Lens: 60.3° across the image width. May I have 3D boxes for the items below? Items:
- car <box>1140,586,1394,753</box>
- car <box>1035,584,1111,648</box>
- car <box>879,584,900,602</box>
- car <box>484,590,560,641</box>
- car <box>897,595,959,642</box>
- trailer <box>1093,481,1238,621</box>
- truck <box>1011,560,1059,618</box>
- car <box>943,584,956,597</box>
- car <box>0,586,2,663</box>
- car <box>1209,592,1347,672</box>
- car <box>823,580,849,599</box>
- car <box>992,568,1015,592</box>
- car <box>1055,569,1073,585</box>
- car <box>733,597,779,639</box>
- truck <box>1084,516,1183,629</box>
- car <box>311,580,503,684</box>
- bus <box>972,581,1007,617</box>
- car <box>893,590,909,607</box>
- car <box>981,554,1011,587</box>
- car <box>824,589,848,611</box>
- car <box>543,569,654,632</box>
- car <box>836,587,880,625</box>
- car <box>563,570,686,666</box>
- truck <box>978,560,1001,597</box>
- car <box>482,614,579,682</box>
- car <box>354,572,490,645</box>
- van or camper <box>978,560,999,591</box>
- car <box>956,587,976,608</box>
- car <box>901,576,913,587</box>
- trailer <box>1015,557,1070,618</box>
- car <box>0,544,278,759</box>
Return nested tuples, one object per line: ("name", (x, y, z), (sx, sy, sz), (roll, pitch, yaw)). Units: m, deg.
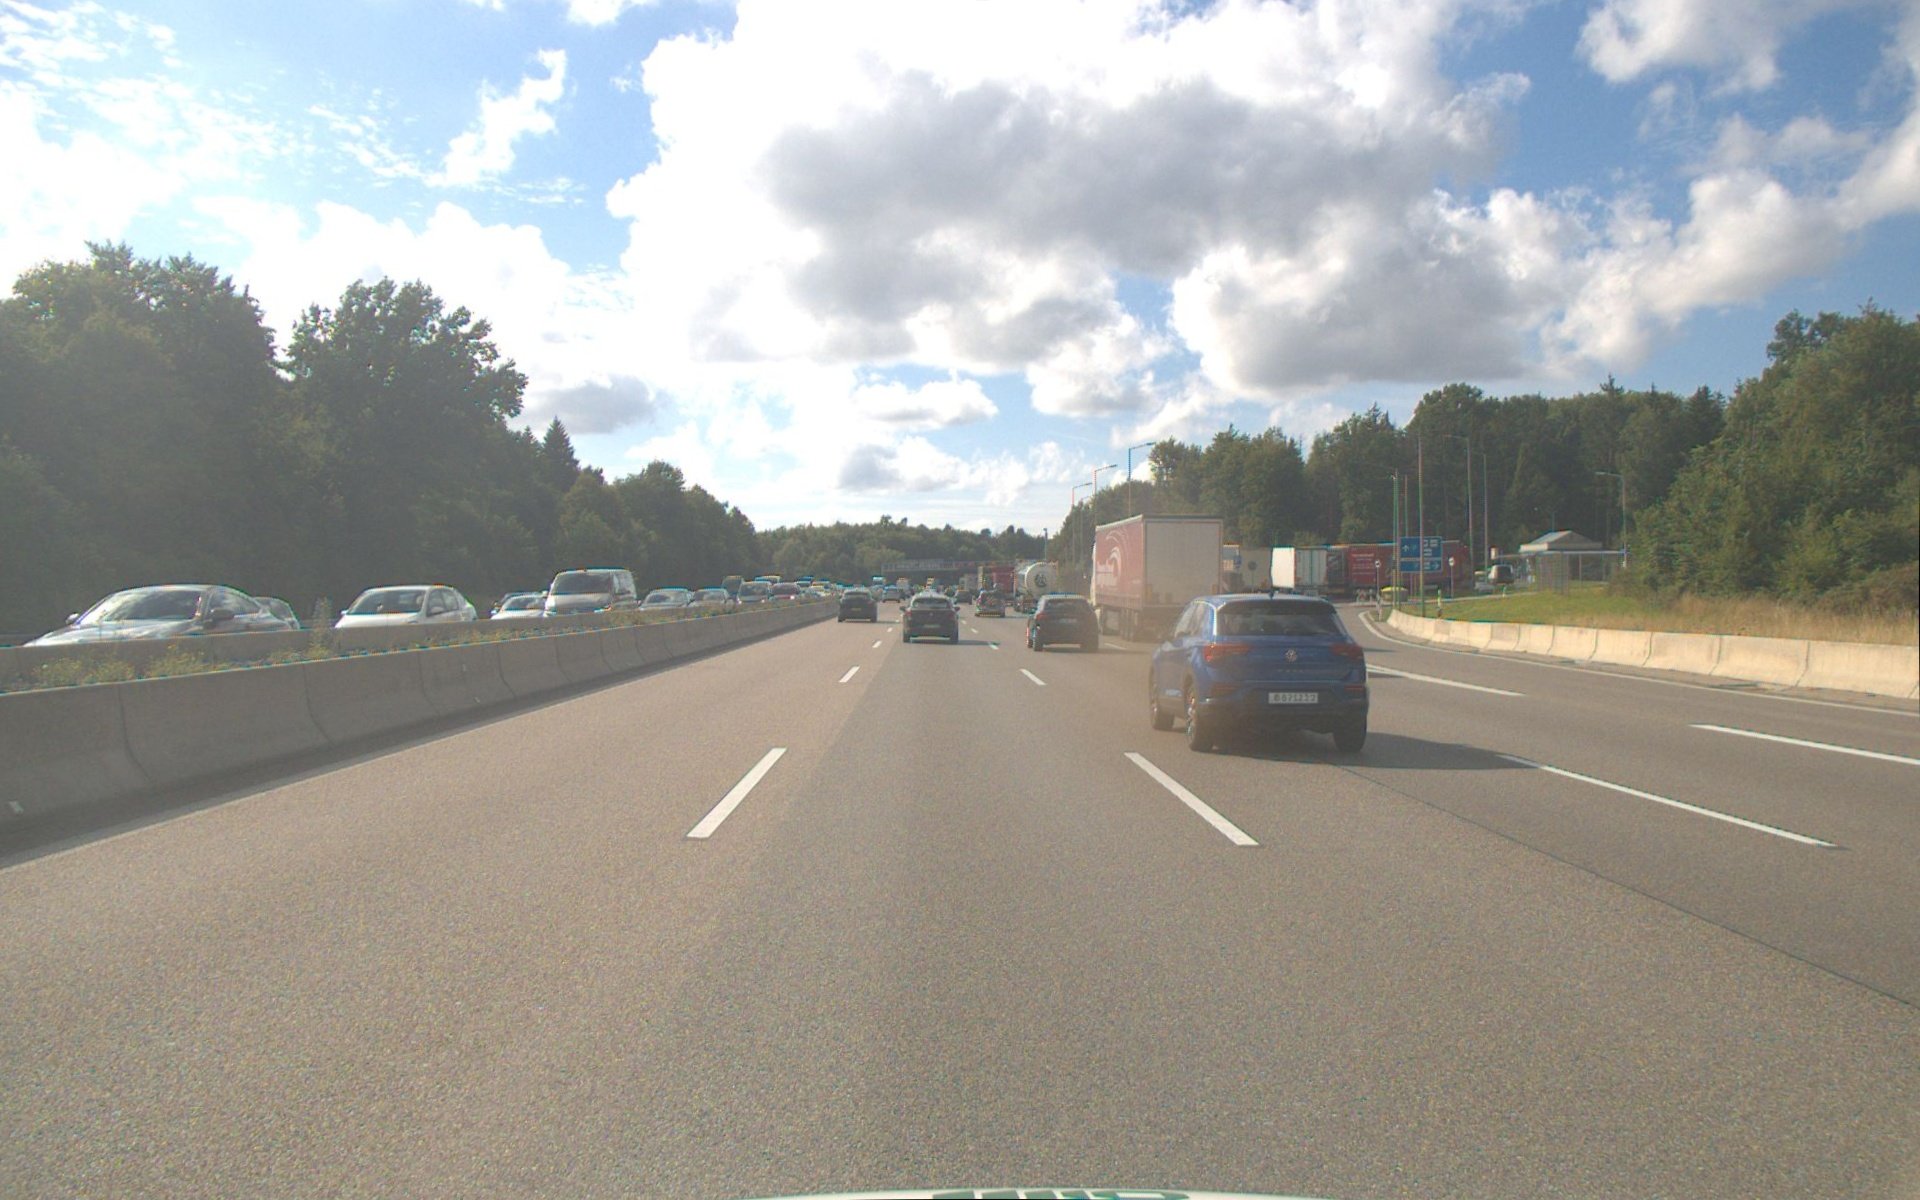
("car", (3.148, 0.672, 17.922), (1.885, 1.568, 4.645), (0, 0, 0))
("car", (3.076, 0.444, 45.739), (1.763, 1.673, 3.999), (1, -1, -1))
("car", (-7.520, -0.738, 177.673), (2.111, 1.807, 3.999), (1, -1, -1))
("car", (-18.164, 0.672, 68.804), (1.953, 2.049, 4.458), (1, -1, 0))
("car", (-1.040, 0.583, 51.757), (1.700, 1.389, 3.996), (1, -1, -4))
("trailer", (6.828, -1.414, 57.389), (2.977, 4.106, 13.884), (1, -1, -1))
("truck", (5.627, -0.769, 125.188), (2.984, 4.233, 7.123), (0, -1, -2))
("car", (-1.664, -1.521, 262.686), (1.953, 2.049, 3.999), (1, 0, -1))
("car", (-12.951, 0.570, 18.374), (1.953, 1.624, 4.523), (1, -1, 0))
("car", (6.577, 0.650, 34.618), (1.682, 1.538, 4.296), (0, -1, -6))
("car", (-11.191, -0.930, 149.575), (1.953, 1.600, 5.329), (2, 0, 0))
("car", (4.028, -1.835, 154.665), (1.953, 2.049, 3.998), (1, -1, -1))
("car", (13.191, -2.905, 210.230), (1.953, 2.049, 3.999), (-1, 0, -1))
("car", (-10.362, 0.941, 84.162), (1.779, 2.049, 4.451), (1, -1, 0))
("truck", (6.671, -0.959, 64.363), (3.018, 4.135, 6.067), (1, -1, -1))
("car", (-10.139, 0.541, 30.793), (1.953, 1.766, 5.089), (1, 0, -1))
("bus", (1.760, -0.016, 100.271), (1.953, 2.049, 3.999), (1, -1, -1))
("car", (-7.390, -0.202, 206.492), (1.953, 2.049, 3.999), (1, 0, -1))
("car", (3.553, -2.966, 165.306), (2.808, 3.044, 5.148), (1, -1, 0))
("car", (-11.919, 0.008, 159.010), (1.953, 2.049, 4.676), (1, -1, 0))
("car", (-9.742, -0.010, 44.914), (1.953, 1.600, 4.815), (1, 0, 0))
("car", (-5.051, 0.279, 82.223), (1.953, 1.807, 3.999), (1, 0, -1))
("car", (-7.256, 0.340, 36.132), (1.953, 1.954, 3.999), (1, 1, -2))
("truck", (3.226, -2.356, 182.664), (2.310, 3.635, 11.264), (1, -1, 0))
("car", (-13.848, 1.509, 53.557), (1.953, 2.049, 4.458), (1, 0, 0))
("car", (-13.932, 0.202, 43.129), (1.953, 1.763, 4.761), (1, 0, 0))
("van or camper", (3.246, -2.777, 189.164), (2.303, 3.199, 5.709), (1, -1, 0))
("car", (0.577, -0.281, 169.214), (1.953, 2.049, 3.999), (1, -1, -1))
("car", (-7.847, -2.739, 245.740), (1.590, 1.496, 3.814), (2, 0, -1))
("trailer", (5.817, -0.788, 119.048), (2.975, 4.086, 12.240), (0, -1, -2))
("car", (-9.574, 0.478, 18.365), (1.866, 2.049, 5.090), (1, 0, 0))
